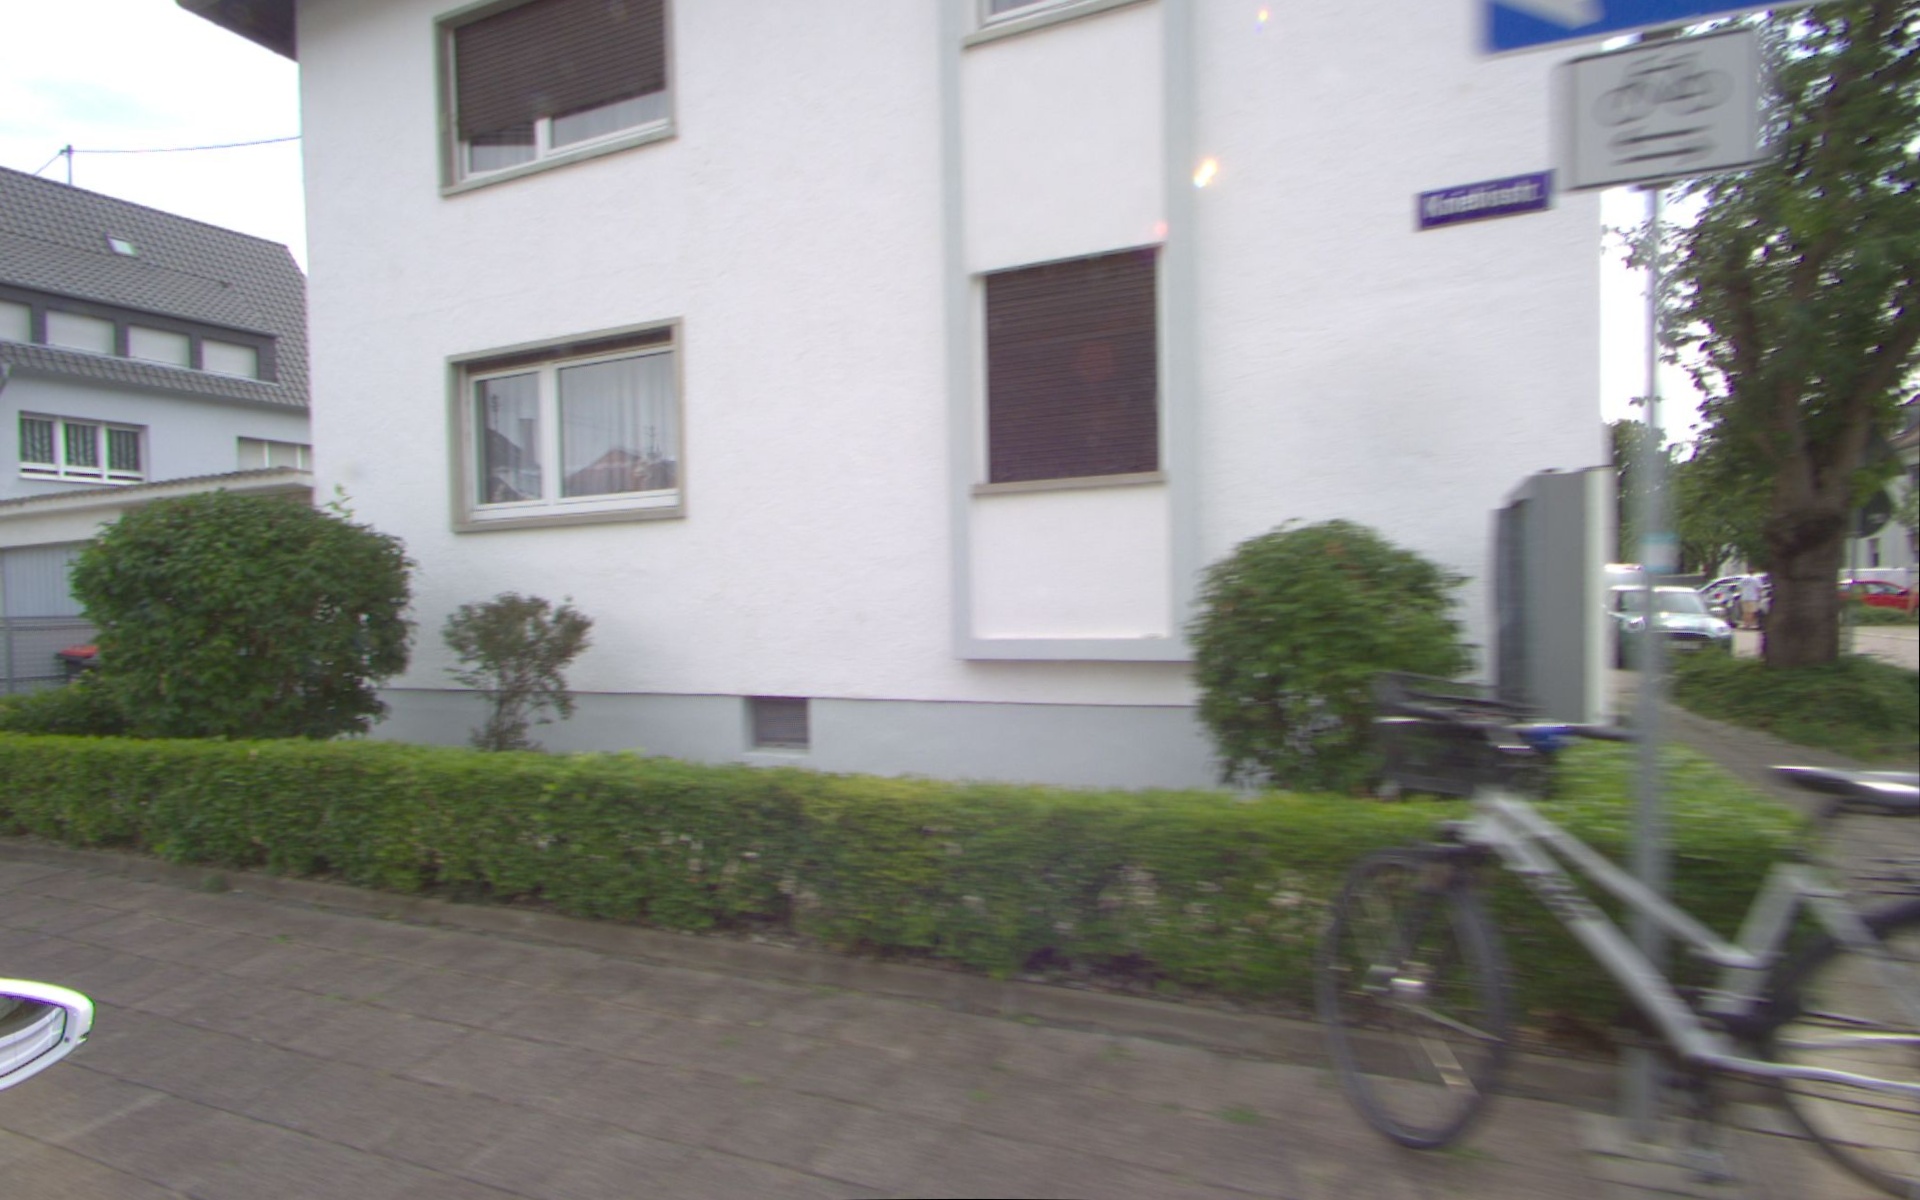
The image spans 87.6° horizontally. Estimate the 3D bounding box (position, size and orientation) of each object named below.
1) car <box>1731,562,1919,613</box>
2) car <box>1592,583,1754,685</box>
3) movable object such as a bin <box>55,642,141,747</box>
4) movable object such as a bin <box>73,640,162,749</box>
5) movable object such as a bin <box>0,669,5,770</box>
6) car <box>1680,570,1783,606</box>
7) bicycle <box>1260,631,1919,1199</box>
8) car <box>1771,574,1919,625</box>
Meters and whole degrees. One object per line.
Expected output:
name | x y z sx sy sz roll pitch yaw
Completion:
car | 31.716 -0.425 36.875 4.909 1.538 1.763 -3 -1 23
car | 12.464 0.544 17.734 1.742 1.574 3.715 -3 -1 27
movable object such as a bin | -8.547 0.931 9.936 0.499 0.986 0.453 -3 0 25
movable object such as a bin | -8.076 0.898 9.604 0.499 0.986 0.453 -3 0 25
movable object such as a bin | -8.956 0.951 8.778 0.743 1.152 0.579 -3 0 25
car | 36.024 -0.535 46.865 3.485 1.444 1.593 -3 -1 25
bicycle | 1.510 0.690 2.110 1.611 1.194 0.434 -3 0 21
car | 30.780 -0.010 34.587 3.936 1.538 1.717 -3 -1 24
